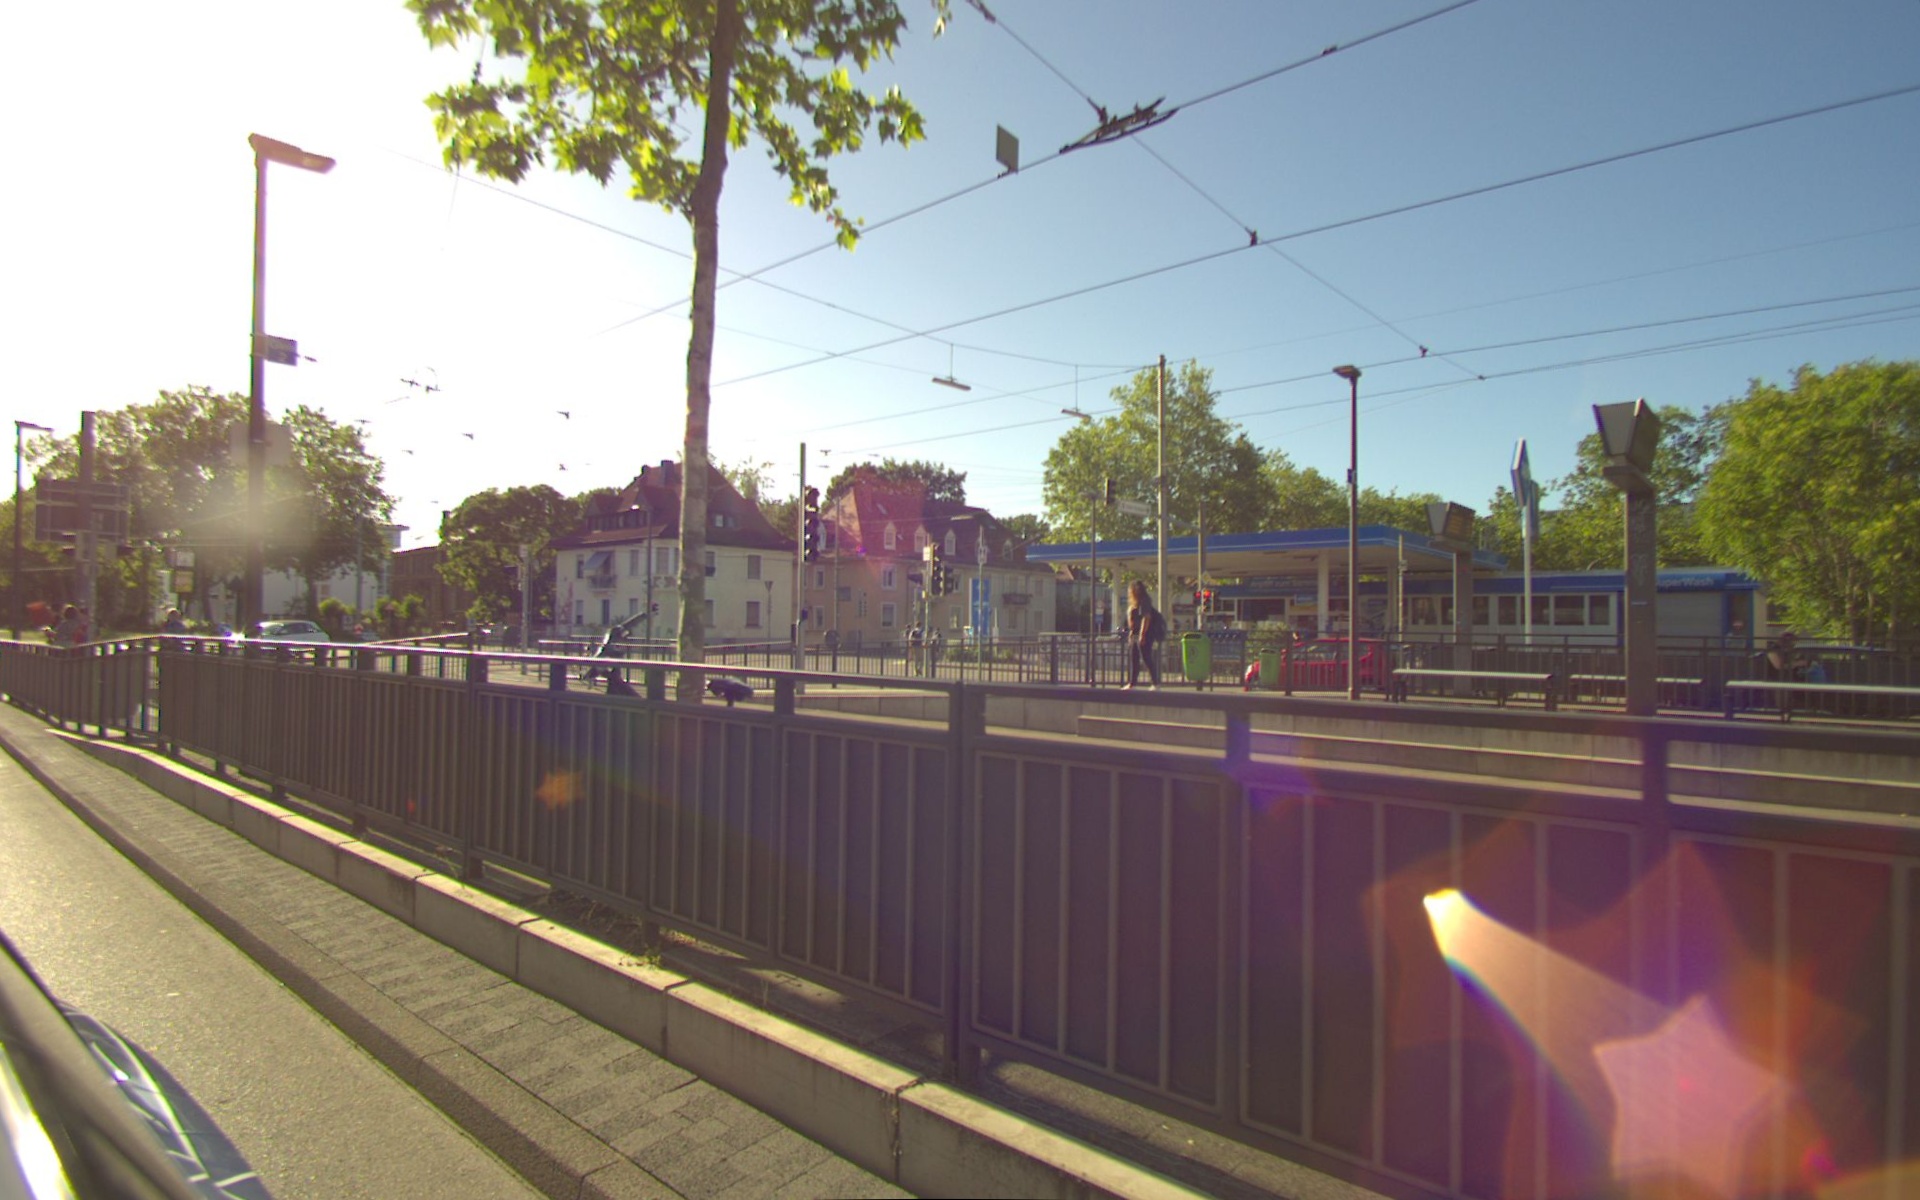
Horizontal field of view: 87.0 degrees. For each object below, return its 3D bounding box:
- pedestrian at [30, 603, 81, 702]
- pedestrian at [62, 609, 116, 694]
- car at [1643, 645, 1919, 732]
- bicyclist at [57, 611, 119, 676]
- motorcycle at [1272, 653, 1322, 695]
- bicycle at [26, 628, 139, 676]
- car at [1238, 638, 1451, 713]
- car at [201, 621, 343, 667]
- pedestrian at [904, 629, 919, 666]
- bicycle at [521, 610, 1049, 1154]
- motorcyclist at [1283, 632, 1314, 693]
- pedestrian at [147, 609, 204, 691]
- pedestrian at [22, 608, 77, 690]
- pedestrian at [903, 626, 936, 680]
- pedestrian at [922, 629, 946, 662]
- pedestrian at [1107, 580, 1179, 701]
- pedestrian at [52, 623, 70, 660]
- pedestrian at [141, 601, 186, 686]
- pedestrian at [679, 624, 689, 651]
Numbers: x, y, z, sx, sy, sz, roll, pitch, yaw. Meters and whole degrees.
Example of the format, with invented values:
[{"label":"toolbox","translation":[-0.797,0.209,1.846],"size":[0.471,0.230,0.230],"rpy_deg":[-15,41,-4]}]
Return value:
[{"label":"pedestrian","translation":[-17.176,0.983,19.222],"size":[0.776,1.841,0.628],"rpy_deg":[-1,-3,44]},{"label":"pedestrian","translation":[-17.845,1.037,20.736],"size":[0.776,1.703,0.733],"rpy_deg":[-1,-3,44]},{"label":"car","translation":[15.746,1.620,19.557],"size":[4.000,1.431,1.778],"rpy_deg":[-1,-2,43]},{"label":"bicyclist","translation":[-26.021,1.290,30.218],"size":[0.984,1.897,0.999],"rpy_deg":[0,-2,14]},{"label":"motorcycle","translation":[10.574,2.311,31.766],"size":[1.388,1.254,0.544],"rpy_deg":[-1,-3,45]},{"label":"bicycle","translation":[-26.073,1.512,30.146],"size":[1.013,1.367,2.368],"rpy_deg":[0,-2,14]},{"label":"car","translation":[8.337,1.580,22.167],"size":[4.000,1.431,1.778],"rpy_deg":[-1,-2,43]},{"label":"car","translation":[-26.122,1.650,38.605],"size":[1.981,1.616,4.252],"rpy_deg":[0,-2,14]},{"label":"pedestrian","translation":[-2.393,2.345,49.798],"size":[0.486,1.783,0.523],"rpy_deg":[2,-2,-37]},{"label":"bicycle","translation":[-0.740,0.746,3.574],"size":[2.169,1.390,0.632],"rpy_deg":[-1,-2,42]},{"label":"motorcyclist","translation":[10.620,1.941,31.731],"size":[0.745,1.866,0.545],"rpy_deg":[-1,-3,45]},{"label":"pedestrian","translation":[-16.850,1.063,21.737],"size":[1.008,1.703,0.792],"rpy_deg":[-1,-3,44]},{"label":"pedestrian","translation":[-19.282,1.025,21.433],"size":[0.776,1.703,0.788],"rpy_deg":[-1,-3,44]},{"label":"pedestrian","translation":[-1.303,1.672,32.387],"size":[0.824,1.703,0.646],"rpy_deg":[-1,-2,33]},{"label":"pedestrian","translation":[-1.201,2.069,46.617],"size":[0.800,1.495,0.758],"rpy_deg":[-1,-2,39]},{"label":"pedestrian","translation":[2.519,0.556,13.955],"size":[0.735,1.604,0.677],"rpy_deg":[-1,-2,42]},{"label":"pedestrian","translation":[-45.101,2.069,50.773],"size":[0.572,1.849,0.560],"rpy_deg":[2,-2,-39]},{"label":"pedestrian","translation":[-17.642,0.958,22.419],"size":[0.808,1.846,0.642],"rpy_deg":[-1,-3,44]},{"label":"pedestrian","translation":[-18.024,2.418,66.069],"size":[0.408,1.756,0.411],"rpy_deg":[-2,-3,41]}]
